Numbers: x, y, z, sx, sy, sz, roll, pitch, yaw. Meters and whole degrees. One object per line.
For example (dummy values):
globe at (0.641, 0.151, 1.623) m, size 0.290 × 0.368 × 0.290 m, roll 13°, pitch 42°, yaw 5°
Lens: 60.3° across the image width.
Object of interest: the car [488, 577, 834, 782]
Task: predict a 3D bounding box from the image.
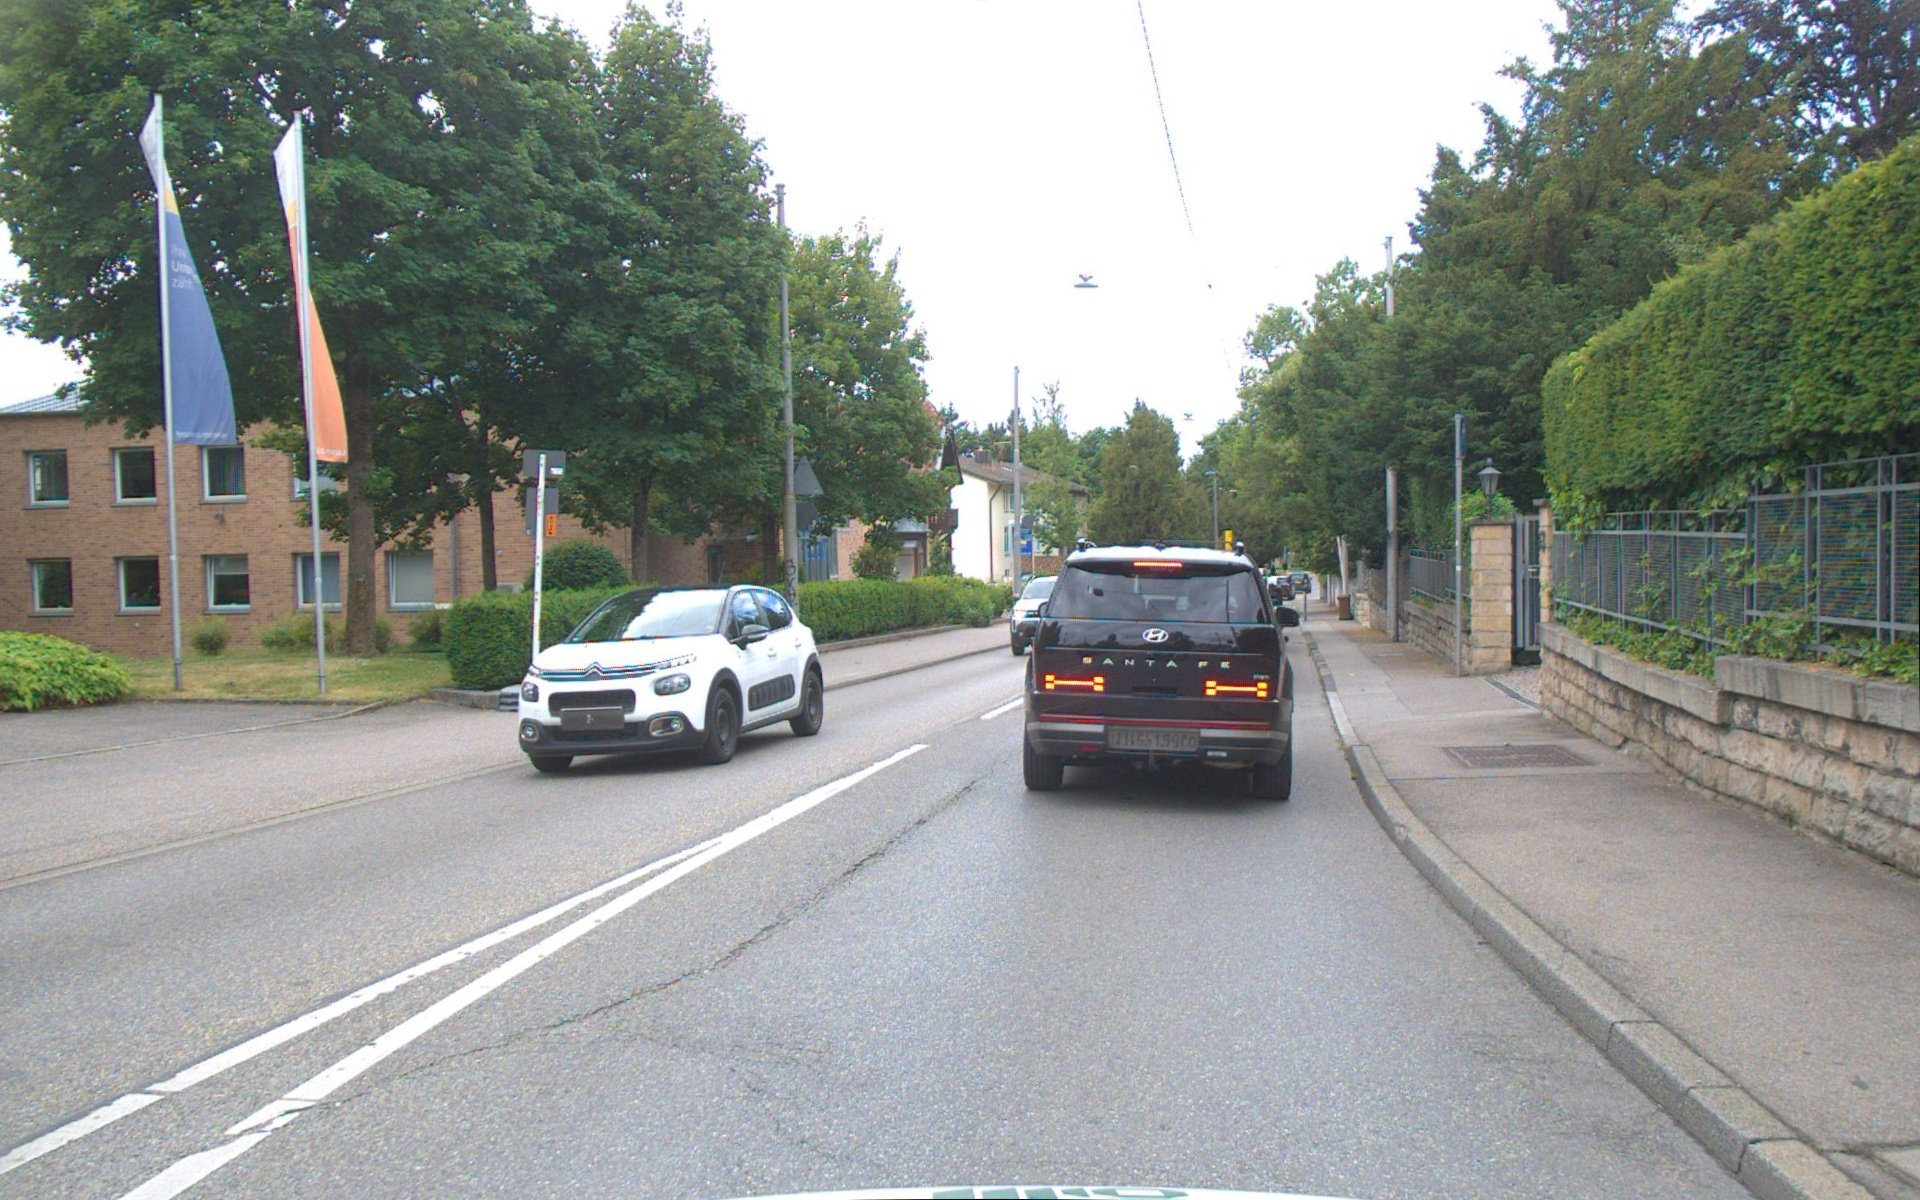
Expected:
car at (-2.468, 0.600, 14.630) m, size 1.659 × 1.464 × 3.760 m, roll -4°, pitch 0°, yaw 11°

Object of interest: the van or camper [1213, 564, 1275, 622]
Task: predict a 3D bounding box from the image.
van or camper at (10.113, -0.268, 58.727) m, size 1.951 × 1.920 × 4.004 m, roll -2°, pitch 1°, yaw 12°

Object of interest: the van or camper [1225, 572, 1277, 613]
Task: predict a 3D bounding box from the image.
van or camper at (12.772, -0.355, 72.673) m, size 1.951 × 1.656 × 4.003 m, roll -2°, pitch 1°, yaw 7°

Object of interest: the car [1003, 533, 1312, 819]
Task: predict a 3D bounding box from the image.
car at (1.651, 0.425, 12.584) m, size 1.915 × 1.742 × 4.227 m, roll 2°, pitch 1°, yaw 11°

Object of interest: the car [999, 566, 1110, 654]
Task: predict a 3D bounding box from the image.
car at (2.111, 0.169, 35.651) m, size 1.731 × 1.666 × 4.306 m, roll -4°, pitch 0°, yaw 11°

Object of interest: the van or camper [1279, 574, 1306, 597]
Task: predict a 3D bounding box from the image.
van or camper at (25.883, -1.111, 128.565) m, size 1.951 × 1.680 × 4.004 m, roll -2°, pitch 0°, yaw 12°

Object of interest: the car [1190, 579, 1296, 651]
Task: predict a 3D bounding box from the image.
car at (6.220, 0.295, 36.033) m, size 1.951 × 1.429 × 4.003 m, roll -1°, pitch 0°, yaw 14°

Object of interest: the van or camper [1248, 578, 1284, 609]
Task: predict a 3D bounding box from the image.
van or camper at (17.979, -0.410, 97.112) m, size 1.951 × 1.680 × 4.004 m, roll -2°, pitch 0°, yaw 12°

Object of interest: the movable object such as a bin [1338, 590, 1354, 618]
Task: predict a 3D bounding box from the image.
movable object such as a bin at (13.895, 0.134, 59.521) m, size 0.436 × 0.925 × 0.394 m, roll -6°, pitch 2°, yaw 21°

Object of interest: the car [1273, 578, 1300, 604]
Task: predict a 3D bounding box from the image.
car at (22.373, -0.598, 113.204) m, size 1.610 × 1.588 × 3.652 m, roll -1°, pitch -2°, yaw 14°

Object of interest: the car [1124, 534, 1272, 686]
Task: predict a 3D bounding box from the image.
car at (3.521, 0.090, 24.028) m, size 1.915 × 1.990 × 4.227 m, roll 1°, pitch 1°, yaw 10°
